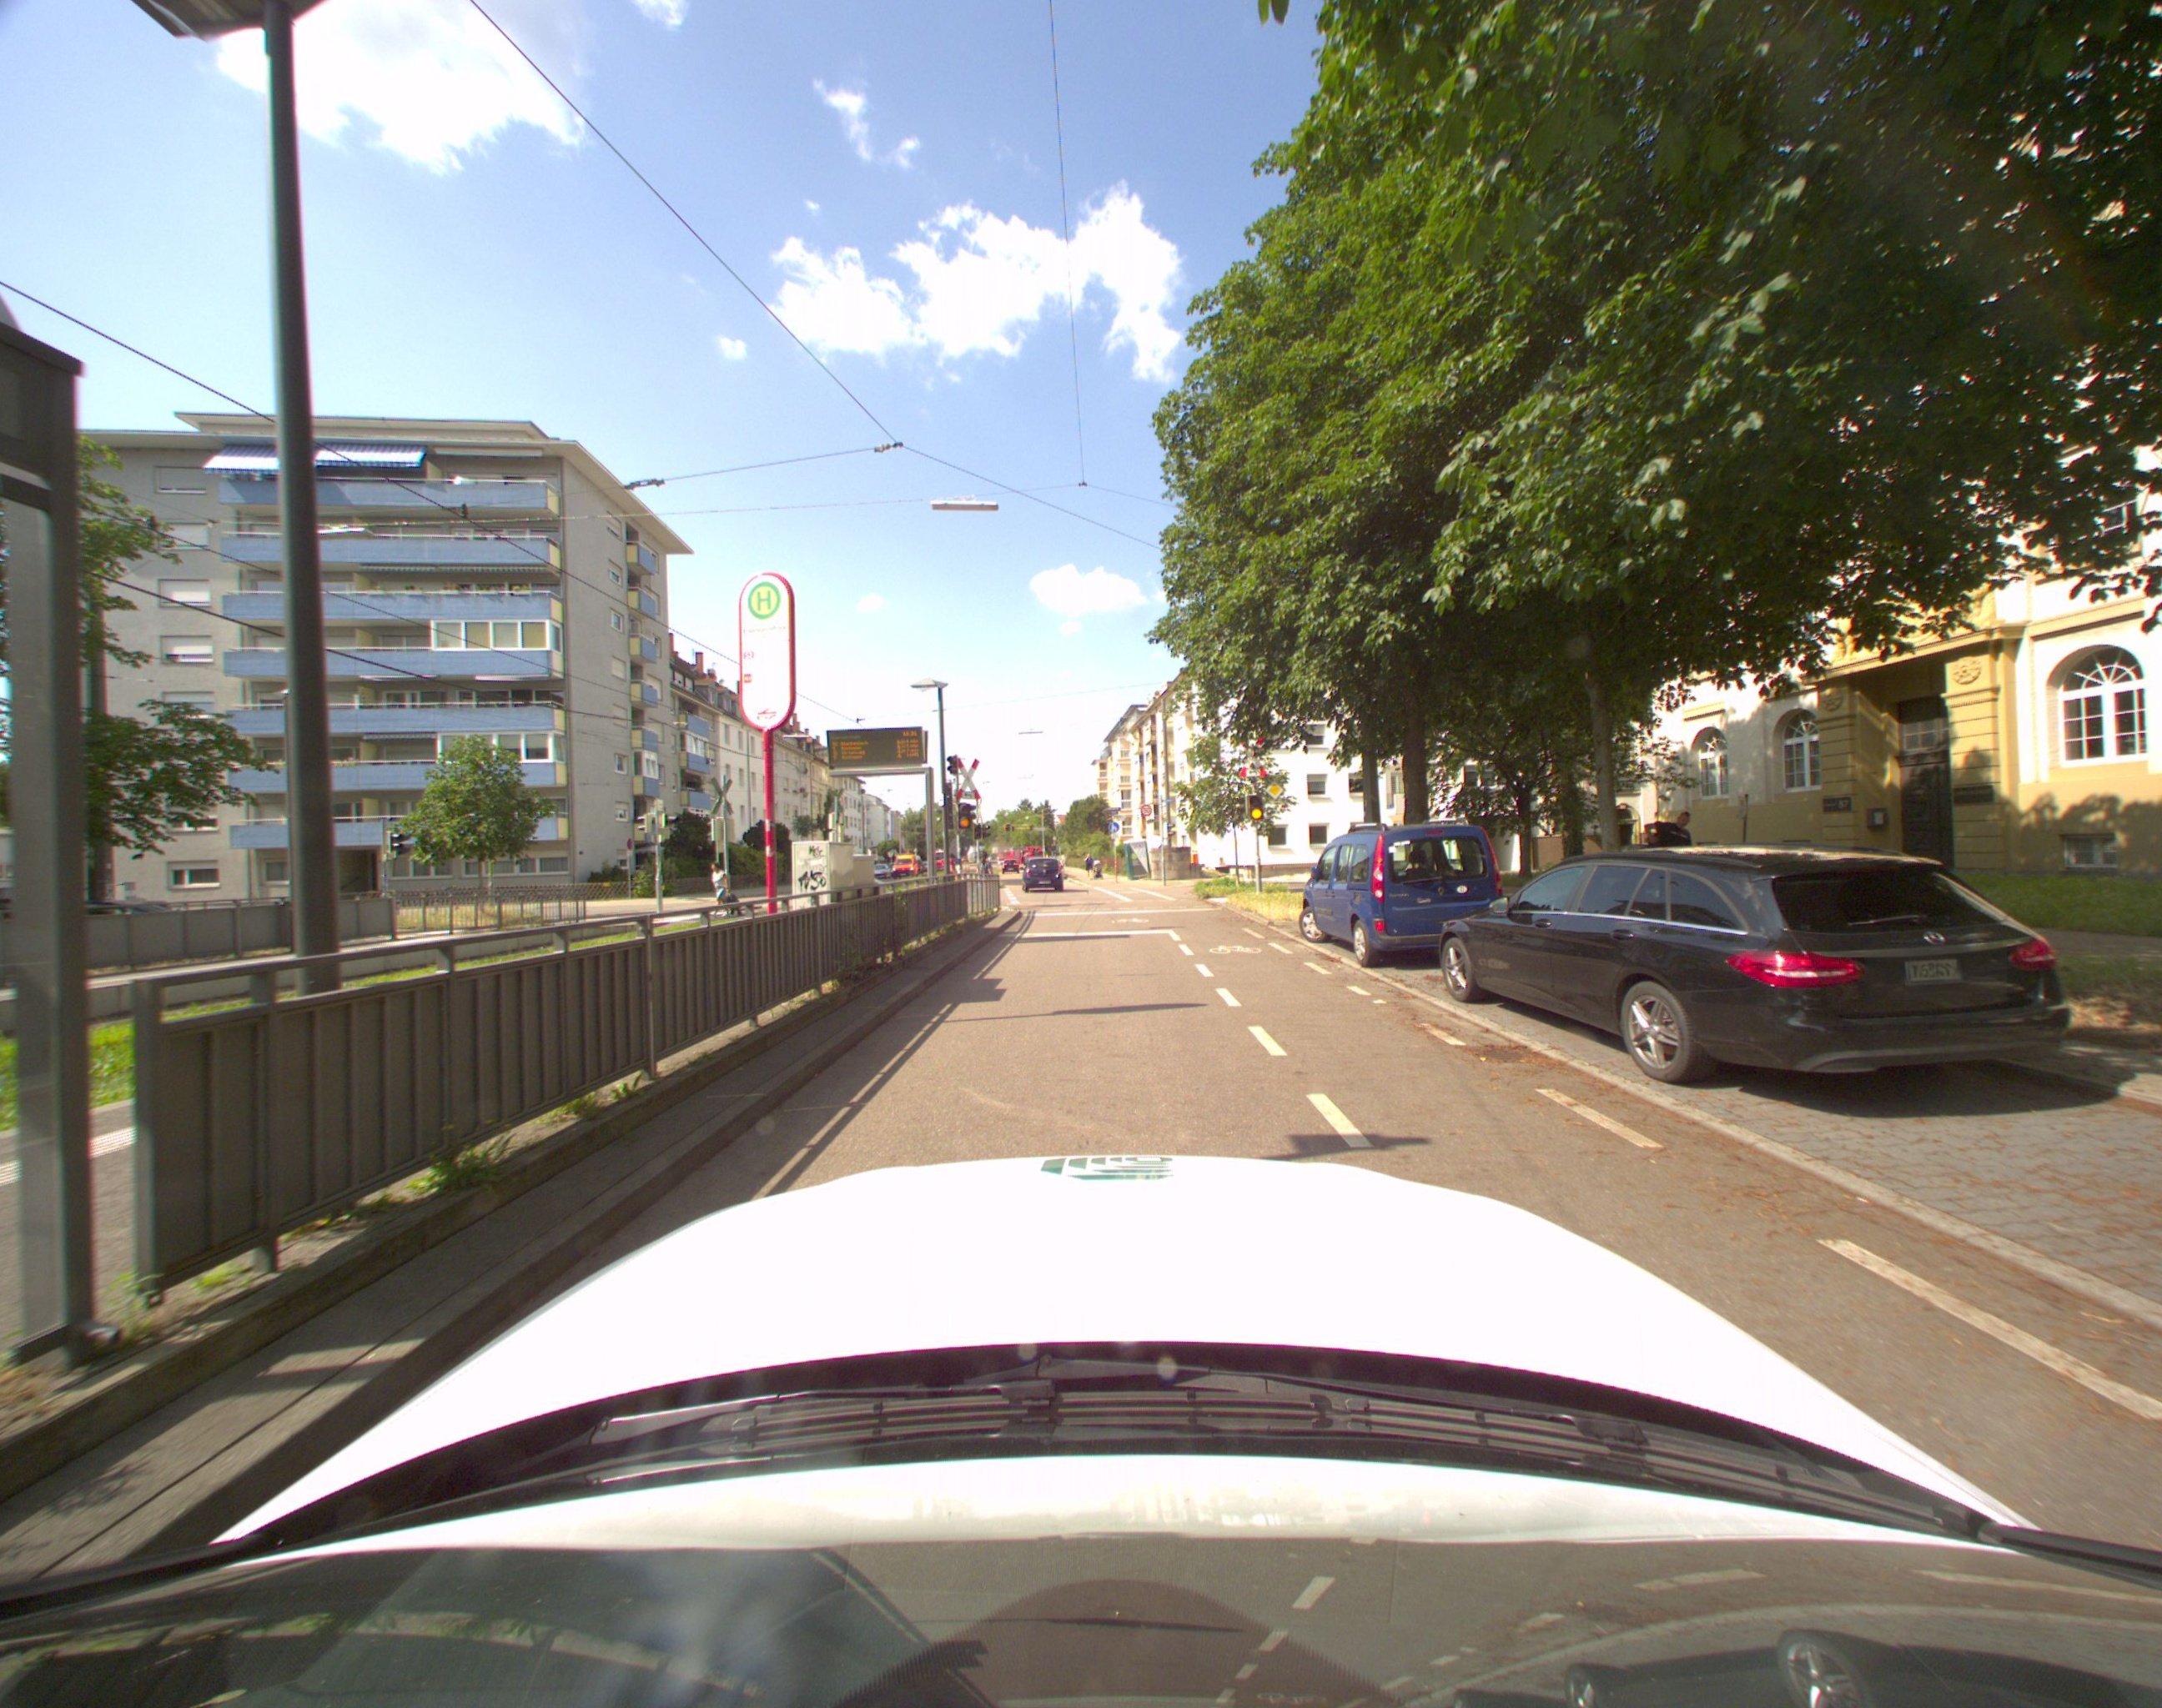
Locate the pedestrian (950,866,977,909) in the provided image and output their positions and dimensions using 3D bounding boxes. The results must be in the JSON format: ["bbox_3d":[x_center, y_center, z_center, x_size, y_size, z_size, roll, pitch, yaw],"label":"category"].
[{"bbox_3d":[-3.409,0.964,23.533,0.638,1.180,0.794,-2,-1,-16],"label":"pedestrian"}]

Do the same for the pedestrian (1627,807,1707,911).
[{"bbox_3d":[9.970,0.082,13.888,0.741,1.696,0.767,-3,0,2],"label":"pedestrian"}]

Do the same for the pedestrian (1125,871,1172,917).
[{"bbox_3d":[3.159,1.853,38.855,1.986,2.014,4.001,0,-1,1],"label":"pedestrian"}]

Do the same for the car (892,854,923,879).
[{"bbox_3d":[-16.063,1.128,75.558,1.988,2.275,4.829,-1,0,-2],"label":"car"}]

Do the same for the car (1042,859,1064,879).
[{"bbox_3d":[-2.170,1.134,62.011,1.619,1.465,3.506,0,-1,-3],"label":"car"}]

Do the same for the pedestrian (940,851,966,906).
[{"bbox_3d":[-3.874,0.744,24.770,0.704,1.648,0.636,0,-1,-3],"label":"pedestrian"}]

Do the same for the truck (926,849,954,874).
[{"bbox_3d":[-19.425,1.041,112.790,2.589,3.186,8.376,-2,-1,-2],"label":"truck"}]

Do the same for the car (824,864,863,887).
[{"bbox_3d":[-17.987,1.611,61.829,1.989,1.645,3.996,0,-1,-3],"label":"car"}]

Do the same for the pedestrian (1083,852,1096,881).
[{"bbox_3d":[0.577,0.792,53.058,0.699,1.789,1.030,-5,0,0],"label":"pedestrian"}]

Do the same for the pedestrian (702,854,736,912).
[{"bbox_3d":[-10.568,0.836,23.798,0.658,1.664,0.632,-2,0,0],"label":"pedestrian"}]

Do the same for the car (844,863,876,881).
[{"bbox_3d":[-18.391,1.519,67.834,1.764,1.442,3.996,0,-1,-3],"label":"car"}]

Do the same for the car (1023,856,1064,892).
[{"bbox_3d":[-1.631,0.883,36.386,1.739,1.507,3.997,0,-1,-1],"label":"car"}]

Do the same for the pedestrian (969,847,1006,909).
[{"bbox_3d":[-2.654,0.672,23.087,0.848,1.667,0.794,-2,-1,-18],"label":"pedestrian"}]

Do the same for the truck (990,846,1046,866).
[{"bbox_3d":[-10.961,0.343,142.028,10.223,3.471,2.643,0,-1,-42],"label":"truck"}]

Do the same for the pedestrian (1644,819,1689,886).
[{"bbox_3d":[14.364,-0.029,19.987,0.629,1.596,0.539,-2,-1,-2],"label":"pedestrian"}]

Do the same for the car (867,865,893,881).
[{"bbox_3d":[-19.144,1.820,77.775,1.765,1.442,3.993,0,-1,-5],"label":"car"}]

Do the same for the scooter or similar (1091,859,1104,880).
[{"bbox_3d":[1.057,1.001,52.153,0.660,1.303,0.868,-5,0,-1],"label":"scooter or similar"}]

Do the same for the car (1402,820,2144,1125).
[{"bbox_3d":[4.560,0.603,6.646,1.911,1.442,4.796,-4,0,0],"label":"car"}]

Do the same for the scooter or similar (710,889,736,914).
[{"bbox_3d":[-10.677,1.404,24.314,0.441,0.698,0.700,-2,0,0],"label":"scooter or similar"}]

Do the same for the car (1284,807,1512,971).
[{"bbox_3d":[4.378,0.410,12.007,1.815,1.896,4.186,-3,0,3],"label":"car"}]
